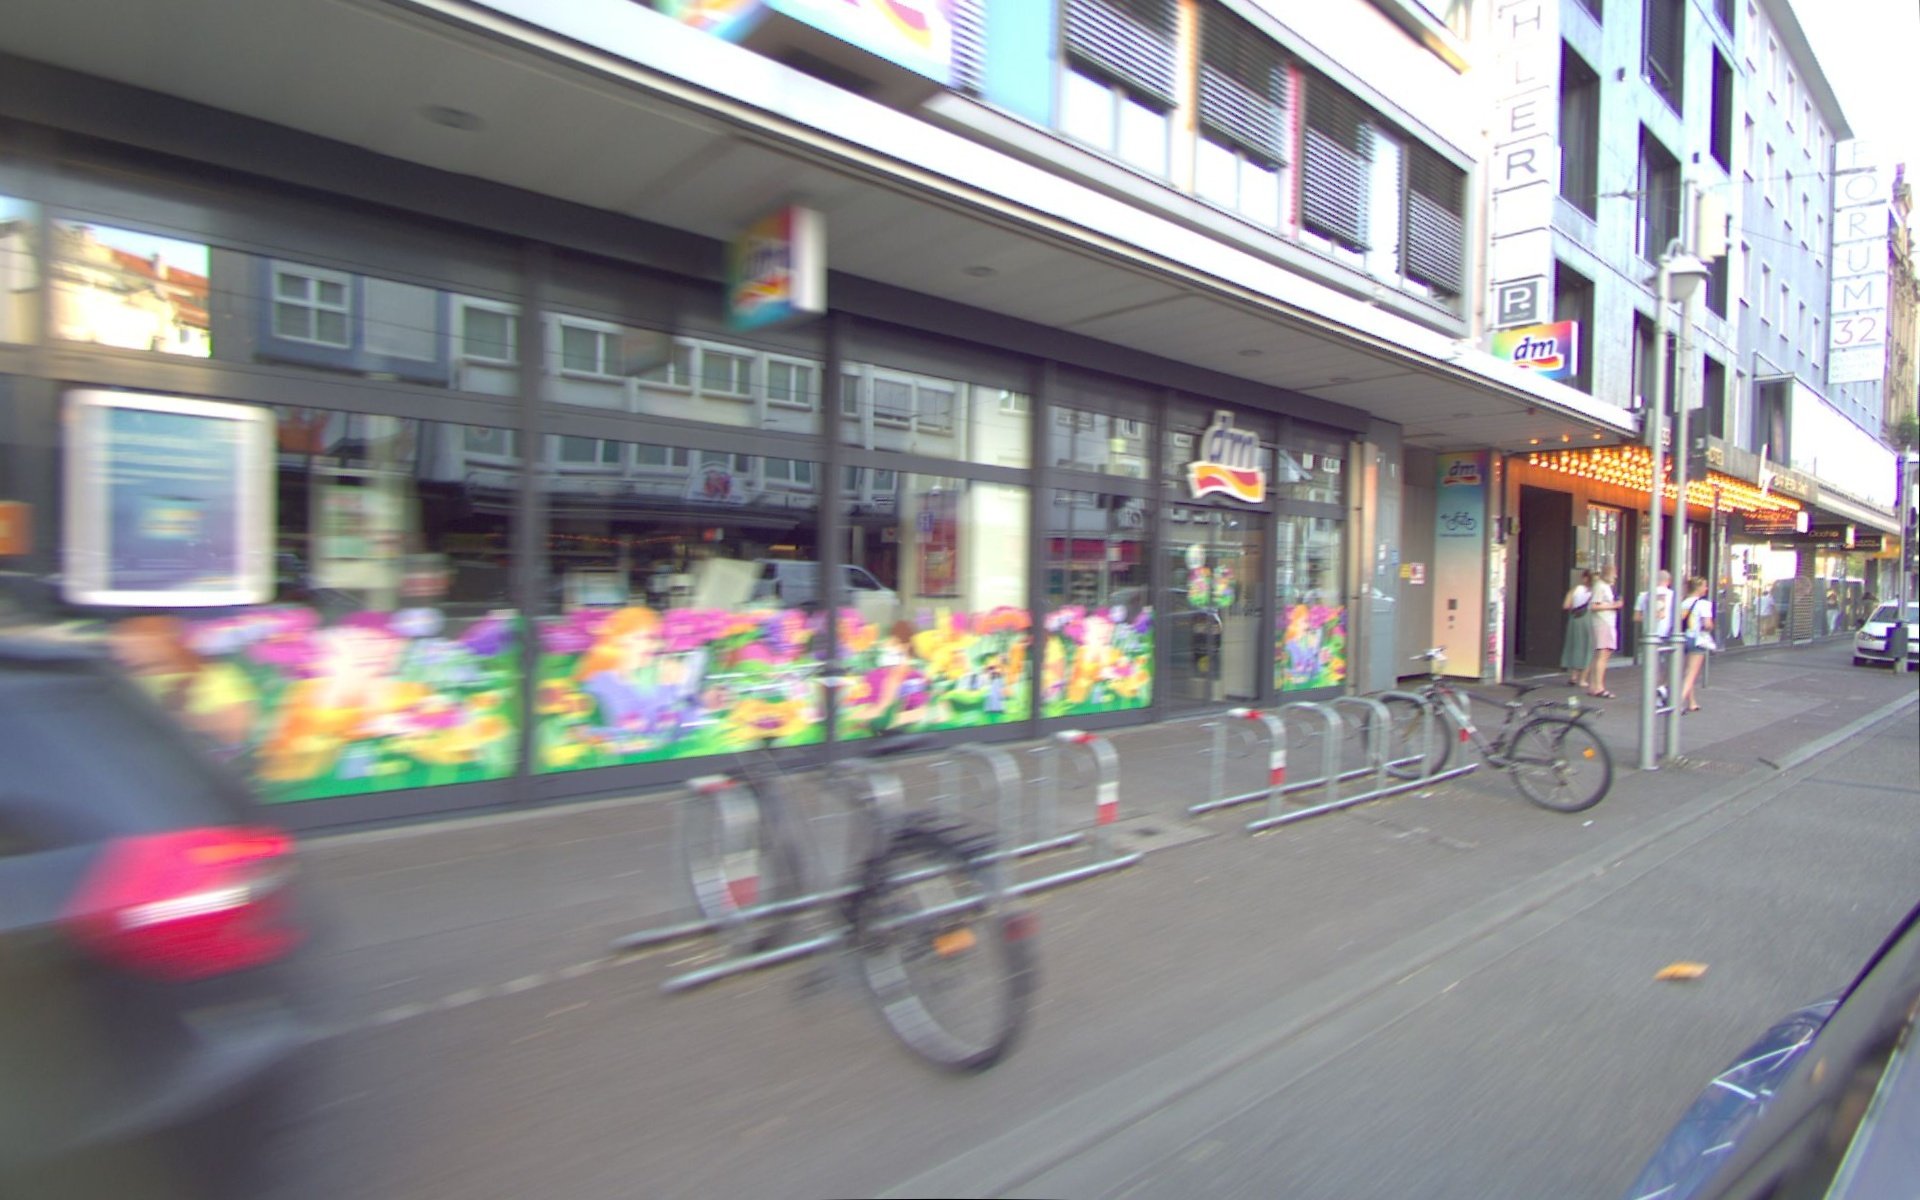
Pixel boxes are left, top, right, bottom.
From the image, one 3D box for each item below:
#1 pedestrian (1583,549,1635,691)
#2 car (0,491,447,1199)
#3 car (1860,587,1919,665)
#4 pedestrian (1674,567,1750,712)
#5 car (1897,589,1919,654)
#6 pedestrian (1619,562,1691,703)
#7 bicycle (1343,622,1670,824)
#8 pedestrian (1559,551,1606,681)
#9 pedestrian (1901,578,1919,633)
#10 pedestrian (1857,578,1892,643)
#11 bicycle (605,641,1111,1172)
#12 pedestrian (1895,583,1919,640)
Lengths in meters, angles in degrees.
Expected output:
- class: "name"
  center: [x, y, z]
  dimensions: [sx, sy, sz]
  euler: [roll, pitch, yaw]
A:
- class: "pedestrian"
  center: [9.026, 0.265, 14.078]
  dimensions: [0.414, 1.922, 0.456]
  euler: [0, 1, -41]
- class: "car"
  center: [-3.053, 0.569, 1.071]
  dimensions: [4.183, 1.530, 1.748]
  euler: [0, 3, -41]
- class: "car"
  center: [21.388, 0.558, 22.366]
  dimensions: [3.817, 1.561, 1.682]
  euler: [0, 3, -40]
- class: "pedestrian"
  center: [9.421, 0.467, 12.686]
  dimensions: [0.635, 1.748, 0.605]
  euler: [0, 1, -41]
- class: "car"
  center: [25.215, 0.548, 25.709]
  dimensions: [3.965, 1.594, 1.672]
  euler: [0, 2, -41]
- class: "pedestrian"
  center: [9.081, 0.400, 13.224]
  dimensions: [0.594, 1.775, 0.610]
  euler: [0, 1, -41]
- class: "bicycle"
  center: [3.809, 0.783, 7.201]
  dimensions: [0.665, 1.090, 1.888]
  euler: [0, 4, -43]
- class: "pedestrian"
  center: [9.354, 0.229, 15.212]
  dimensions: [0.414, 1.922, 0.452]
  euler: [0, 1, -41]
- class: "pedestrian"
  center: [36.367, 0.211, 38.497]
  dimensions: [0.810, 2.038, 0.711]
  euler: [0, 1, -41]
- class: "pedestrian"
  center: [25.347, 0.281, 28.039]
  dimensions: [0.594, 1.775, 0.610]
  euler: [0, 1, -41]
- class: "bicycle"
  center: [-0.459, 0.786, 3.385]
  dimensions: [0.665, 1.152, 1.888]
  euler: [0, 2, -43]
- class: "pedestrian"
  center: [30.451, 0.362, 32.452]
  dimensions: [0.594, 1.775, 0.610]
  euler: [0, 1, -41]
